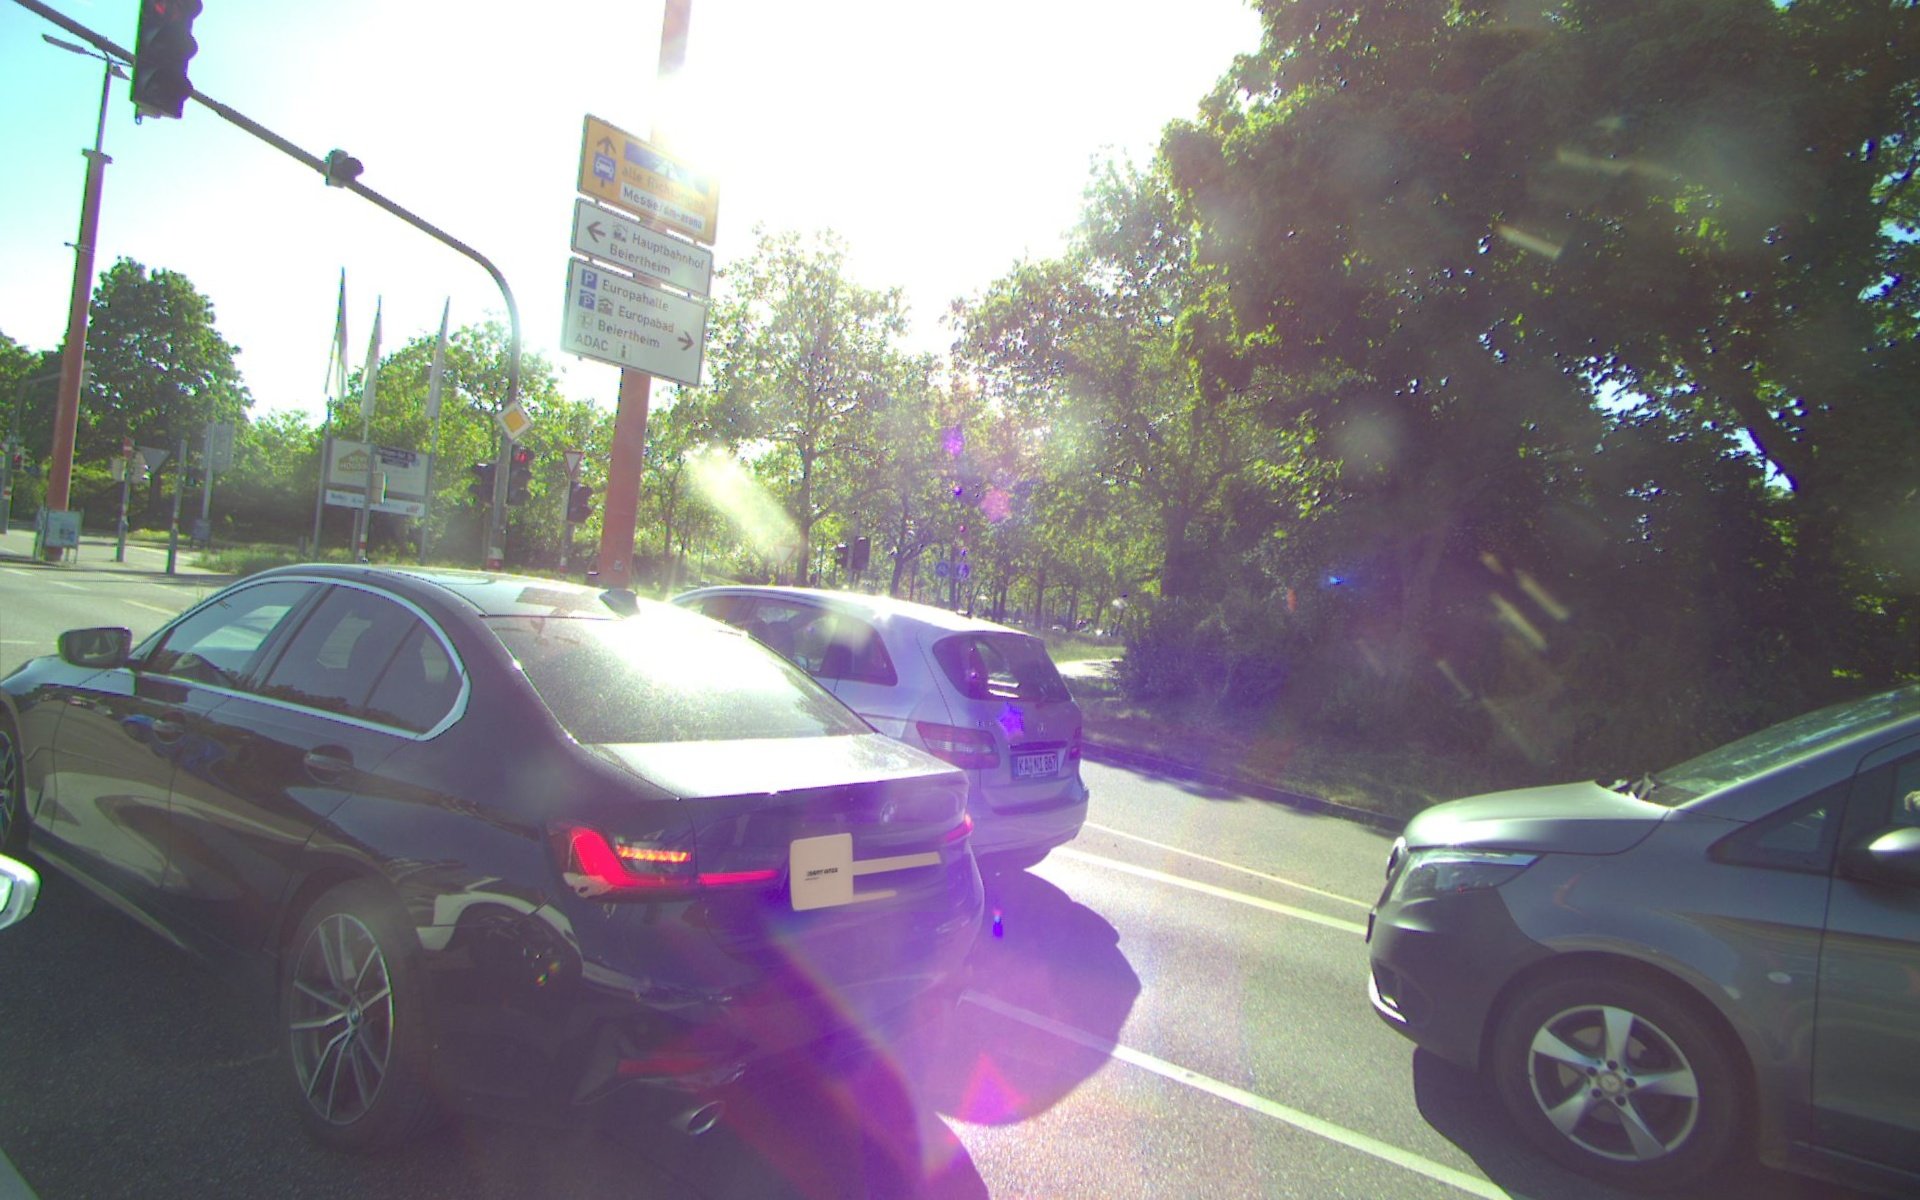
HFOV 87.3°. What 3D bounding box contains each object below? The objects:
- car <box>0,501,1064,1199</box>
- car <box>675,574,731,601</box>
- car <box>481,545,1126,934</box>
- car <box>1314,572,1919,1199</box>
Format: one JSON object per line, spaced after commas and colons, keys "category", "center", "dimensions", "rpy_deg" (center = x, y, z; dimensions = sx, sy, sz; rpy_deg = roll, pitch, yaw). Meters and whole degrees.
{"category": "car", "center": [-1.961, 0.577, 3.785], "dimensions": [4.226, 1.458, 1.766], "rpy_deg": [6, -2, 34]}
{"category": "car", "center": [-21.616, -1.059, 84.731], "dimensions": [1.742, 1.654, 4.289], "rpy_deg": [6, -2, 35]}
{"category": "car", "center": [-1.100, 0.693, 6.521], "dimensions": [3.784, 1.626, 1.719], "rpy_deg": [6, -2, 32]}
{"category": "car", "center": [3.982, 1.139, 3.085], "dimensions": [5.021, 1.875, 1.806], "rpy_deg": [7, 0, 34]}
